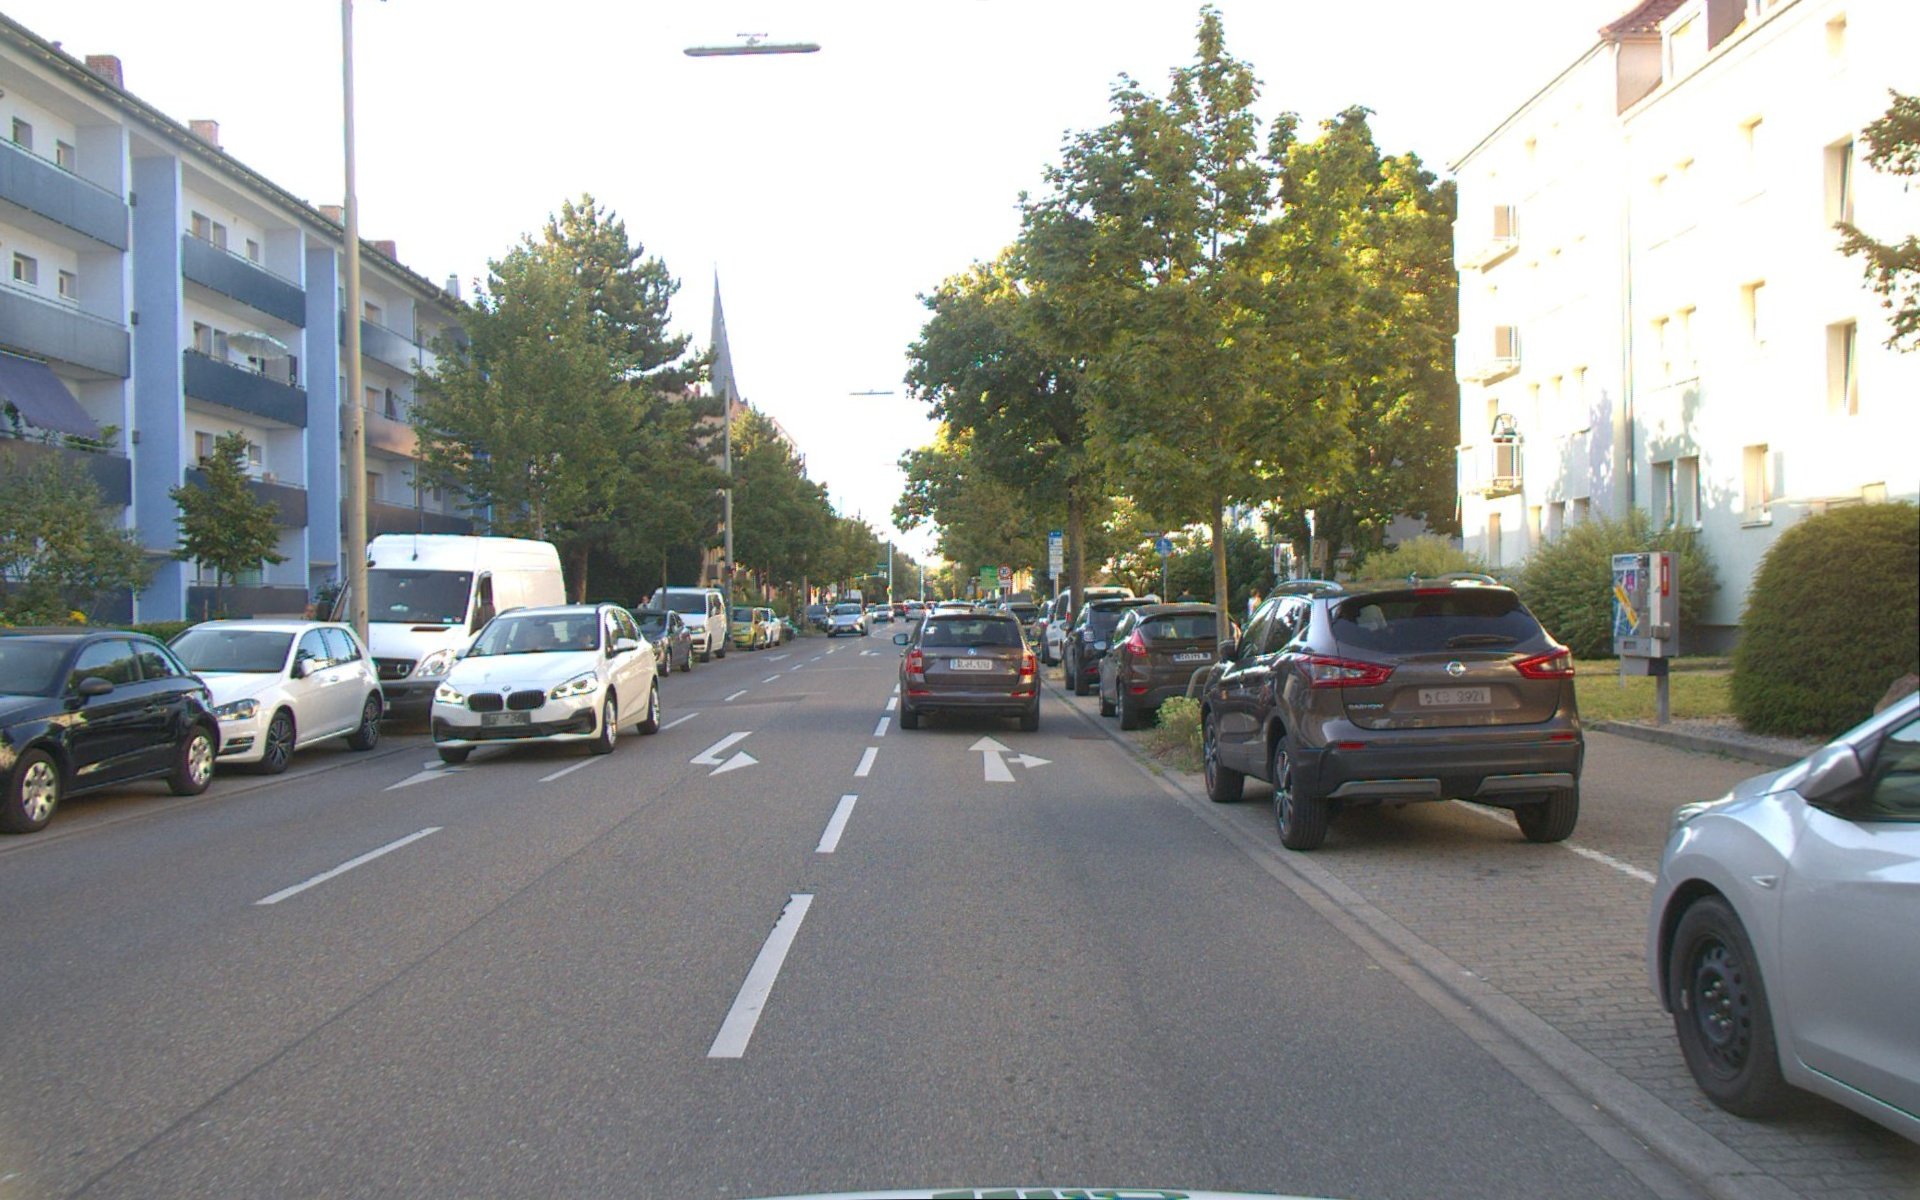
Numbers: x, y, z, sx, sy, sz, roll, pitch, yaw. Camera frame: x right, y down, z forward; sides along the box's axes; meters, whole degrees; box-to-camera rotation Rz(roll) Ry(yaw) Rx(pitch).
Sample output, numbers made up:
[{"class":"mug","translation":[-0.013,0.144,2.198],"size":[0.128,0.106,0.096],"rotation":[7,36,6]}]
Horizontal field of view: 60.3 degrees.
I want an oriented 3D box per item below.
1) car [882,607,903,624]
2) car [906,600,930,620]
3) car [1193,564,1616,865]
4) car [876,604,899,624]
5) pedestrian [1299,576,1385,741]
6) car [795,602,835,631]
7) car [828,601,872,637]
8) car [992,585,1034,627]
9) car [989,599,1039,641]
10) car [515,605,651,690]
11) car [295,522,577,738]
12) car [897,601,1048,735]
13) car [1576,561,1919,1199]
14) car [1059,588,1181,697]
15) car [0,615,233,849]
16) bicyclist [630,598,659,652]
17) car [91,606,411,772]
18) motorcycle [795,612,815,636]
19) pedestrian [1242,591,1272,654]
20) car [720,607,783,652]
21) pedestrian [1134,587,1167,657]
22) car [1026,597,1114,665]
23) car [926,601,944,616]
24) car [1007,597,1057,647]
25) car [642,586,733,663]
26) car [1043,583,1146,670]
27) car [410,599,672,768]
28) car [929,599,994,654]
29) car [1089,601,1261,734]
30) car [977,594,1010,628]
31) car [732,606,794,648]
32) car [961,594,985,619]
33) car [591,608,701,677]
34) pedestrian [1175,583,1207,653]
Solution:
[{"class":"car","translation":[-7.105,1.606,173.183],"size":[1.955,1.780,3.995],"rotation":[-1,0,-6]},{"class":"car","translation":[-3.337,0.813,131.499],"size":[1.746,1.506,3.968],"rotation":[1,0,-4]},{"class":"car","translation":[2.781,0.644,11.318],"size":[1.683,1.629,4.095],"rotation":[-2,0,-1]},{"class":"car","translation":[-5.920,1.109,135.454],"size":[1.704,1.505,4.308],"rotation":[-4,0,-1]},{"class":"pedestrian","translation":[4.097,0.618,17.777],"size":[0.771,1.730,0.808],"rotation":[0,-1,4]},{"class":"car","translation":[-7.931,0.878,90.661],"size":[1.744,1.506,4.033],"rotation":[1,0,1]},{"class":"car","translation":[-5.164,0.889,78.063],"size":[1.745,1.520,3.970],"rotation":[-4,0,0]},{"class":"car","translation":[2.428,0.290,76.935],"size":[1.877,1.893,5.633],"rotation":[0,0,1]},{"class":"car","translation":[2.150,0.804,66.701],"size":[1.719,1.584,4.102],"rotation":[1,-1,-2]},{"class":"car","translation":[-7.532,0.907,33.462],"size":[1.637,1.570,4.473],"rotation":[-1,0,1]},{"class":"car","translation":[-7.319,0.385,24.081],"size":[1.953,2.662,7.103],"rotation":[1,0,-1]},{"class":"car","translation":[0.182,0.790,21.060],"size":[1.718,1.518,4.000],"rotation":[1,0,1]},{"class":"car","translation":[3.089,0.658,3.675],"size":[1.683,1.520,4.392],"rotation":[-1,0,-2]},{"class":"car","translation":[2.671,0.686,28.474],"size":[1.718,1.692,4.252],"rotation":[-2,0,1]},{"class":"car","translation":[-7.251,0.903,12.812],"size":[1.579,1.499,3.812],"rotation":[2,0,-1]},{"class":"bicyclist","translation":[-9.665,0.758,50.620],"size":[0.590,1.621,0.940],"rotation":[-1,0,7]},{"class":"car","translation":[-7.422,0.856,17.774],"size":[1.672,1.518,4.058],"rotation":[2,0,-1]},{"class":"motorcycle","translation":[-7.922,1.218,84.697],"size":[0.724,1.225,2.142],"rotation":[1,0,2]},{"class":"pedestrian","translation":[8.414,0.622,46.890],"size":[0.781,1.752,0.745],"rotation":[-1,-1,8]},{"class":"car","translation":[-7.239,0.997,57.651],"size":[1.585,1.506,3.872],"rotation":[1,0,1]},{"class":"pedestrian","translation":[5.297,0.607,46.055],"size":[0.733,1.893,1.067],"rotation":[-1,0,-2]},{"class":"car","translation":[2.776,0.760,42.416],"size":[1.719,1.584,4.249],"rotation":[-2,0,-3]},{"class":"car","translation":[-2.740,0.937,180.134],"size":[1.613,1.627,3.645],"rotation":[-1,0,-6]},{"class":"car","translation":[2.601,0.791,60.499],"size":[1.718,1.716,4.252],"rotation":[1,0,1]},{"class":"car","translation":[-7.708,0.659,47.226],"size":[1.831,2.067,5.299],"rotation":[0,0,-1]},{"class":"car","translation":[2.988,0.570,37.664],"size":[1.764,1.840,4.421],"rotation":[1,0,-3]},{"class":"car","translation":[-4.479,0.817,18.353],"size":[1.842,1.570,4.266],"rotation":[-3,0,-1]},{"class":"car","translation":[0.006,0.843,51.529],"size":[1.854,1.533,3.788],"rotation":[3,-1,-1]},{"class":"car","translation":[2.651,0.784,21.167],"size":[1.580,1.492,3.958],"rotation":[-2,0,-1]},{"class":"car","translation":[1.790,0.584,89.490],"size":[1.718,1.745,4.000],"rotation":[1,0,1]},{"class":"car","translation":[-7.437,0.989,62.735],"size":[1.744,1.521,3.971],"rotation":[1,0,1]},{"class":"car","translation":[0.980,0.492,125.163],"size":[1.718,1.837,4.000],"rotation":[1,0,0]},{"class":"car","translation":[-7.269,0.939,38.642],"size":[1.657,1.509,4.144],"rotation":[0,0,2]},{"class":"pedestrian","translation":[6.336,0.498,45.364],"size":[0.781,1.893,0.951],"rotation":[-1,-1,10]}]
